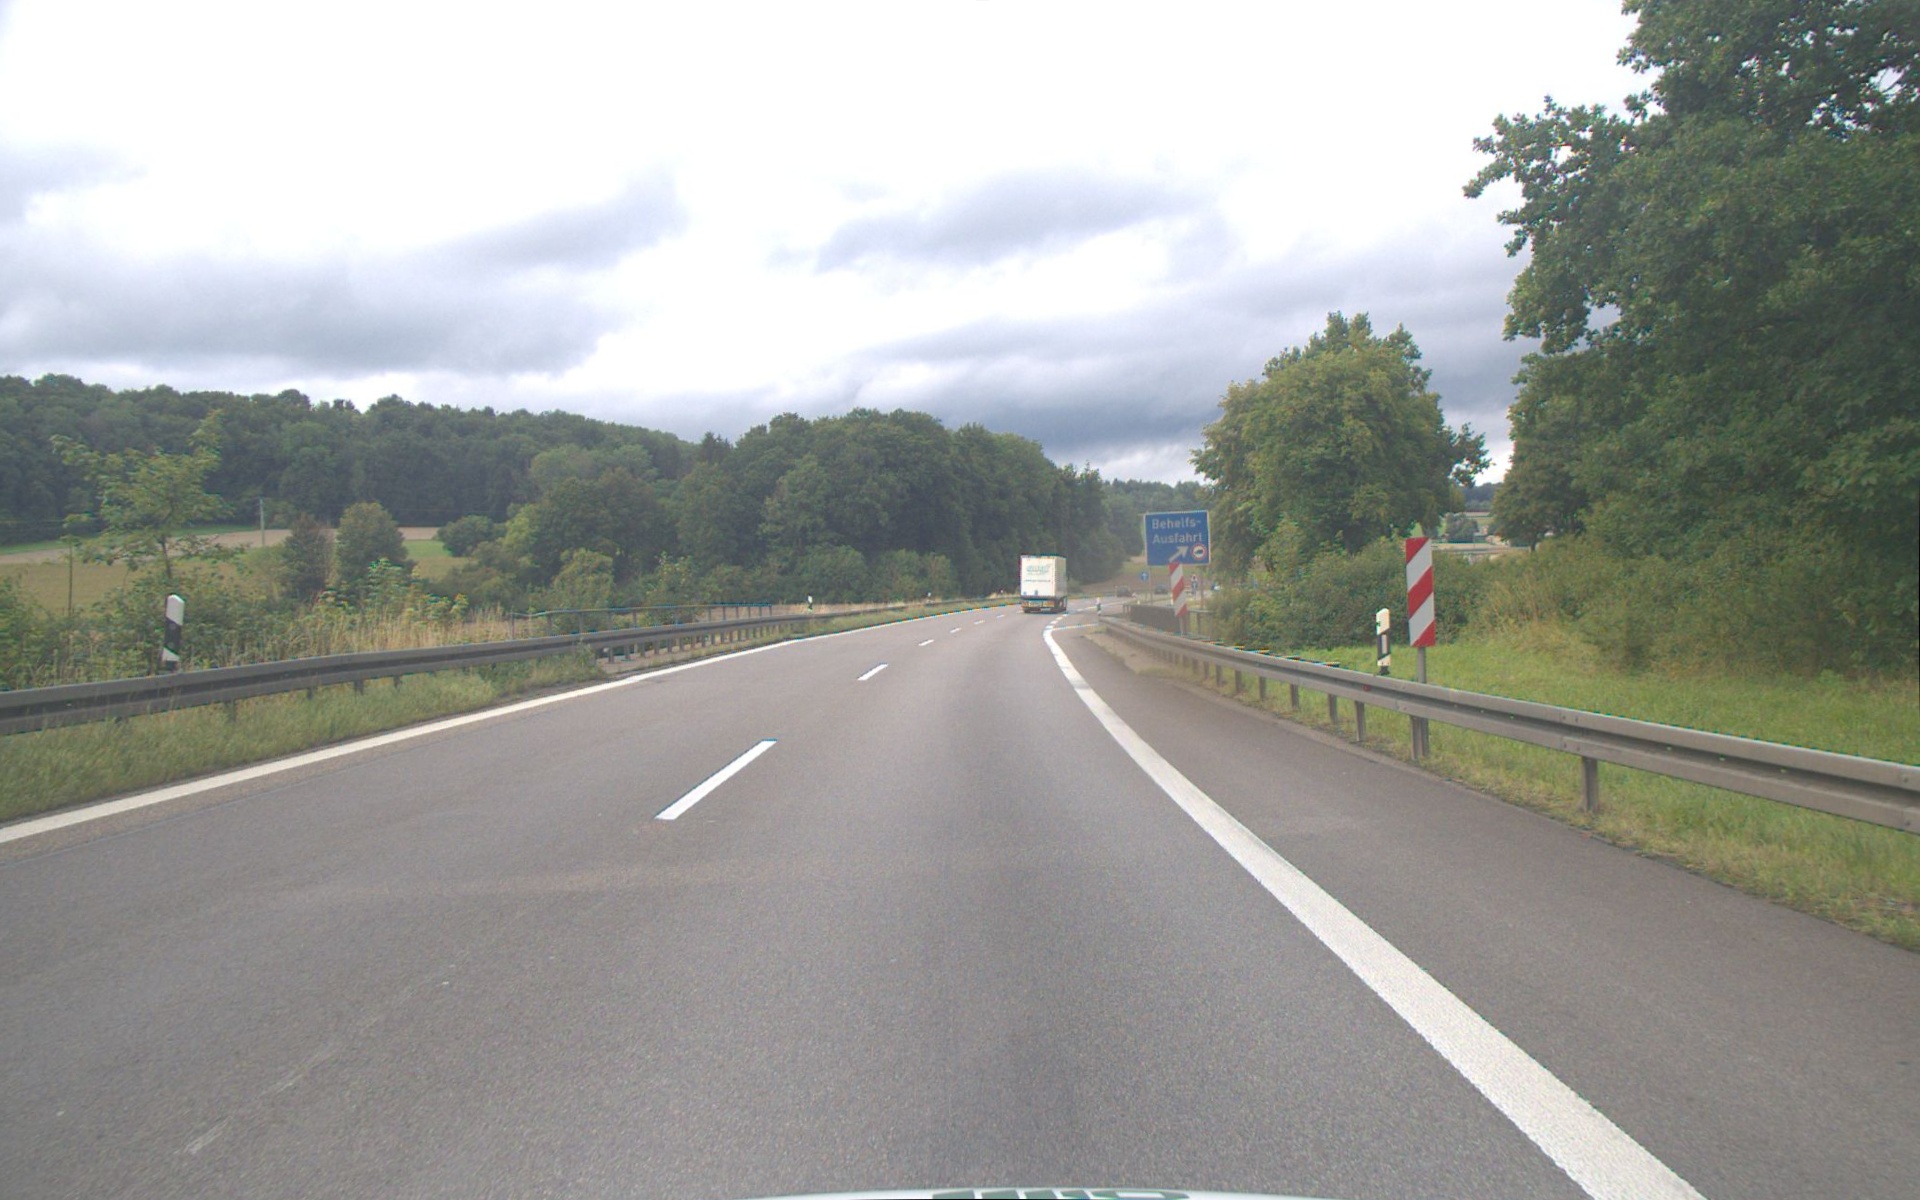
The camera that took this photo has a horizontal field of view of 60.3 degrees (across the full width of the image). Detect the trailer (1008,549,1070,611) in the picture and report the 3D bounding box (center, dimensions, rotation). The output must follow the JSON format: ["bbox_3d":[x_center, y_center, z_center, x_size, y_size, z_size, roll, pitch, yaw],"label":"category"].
[{"bbox_3d":[5.928,-1.467,121.419,3.725,4.247,14.818,1,0,6],"label":"trailer"}]

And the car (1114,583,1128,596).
[{"bbox_3d":[23.515,-1.557,241.324,1.862,1.827,4.003,0,-1,8],"label":"car"}]

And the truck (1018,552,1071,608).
[{"bbox_3d":[6.658,-1.552,129.019,3.707,4.204,8.270,0,1,5],"label":"truck"}]
